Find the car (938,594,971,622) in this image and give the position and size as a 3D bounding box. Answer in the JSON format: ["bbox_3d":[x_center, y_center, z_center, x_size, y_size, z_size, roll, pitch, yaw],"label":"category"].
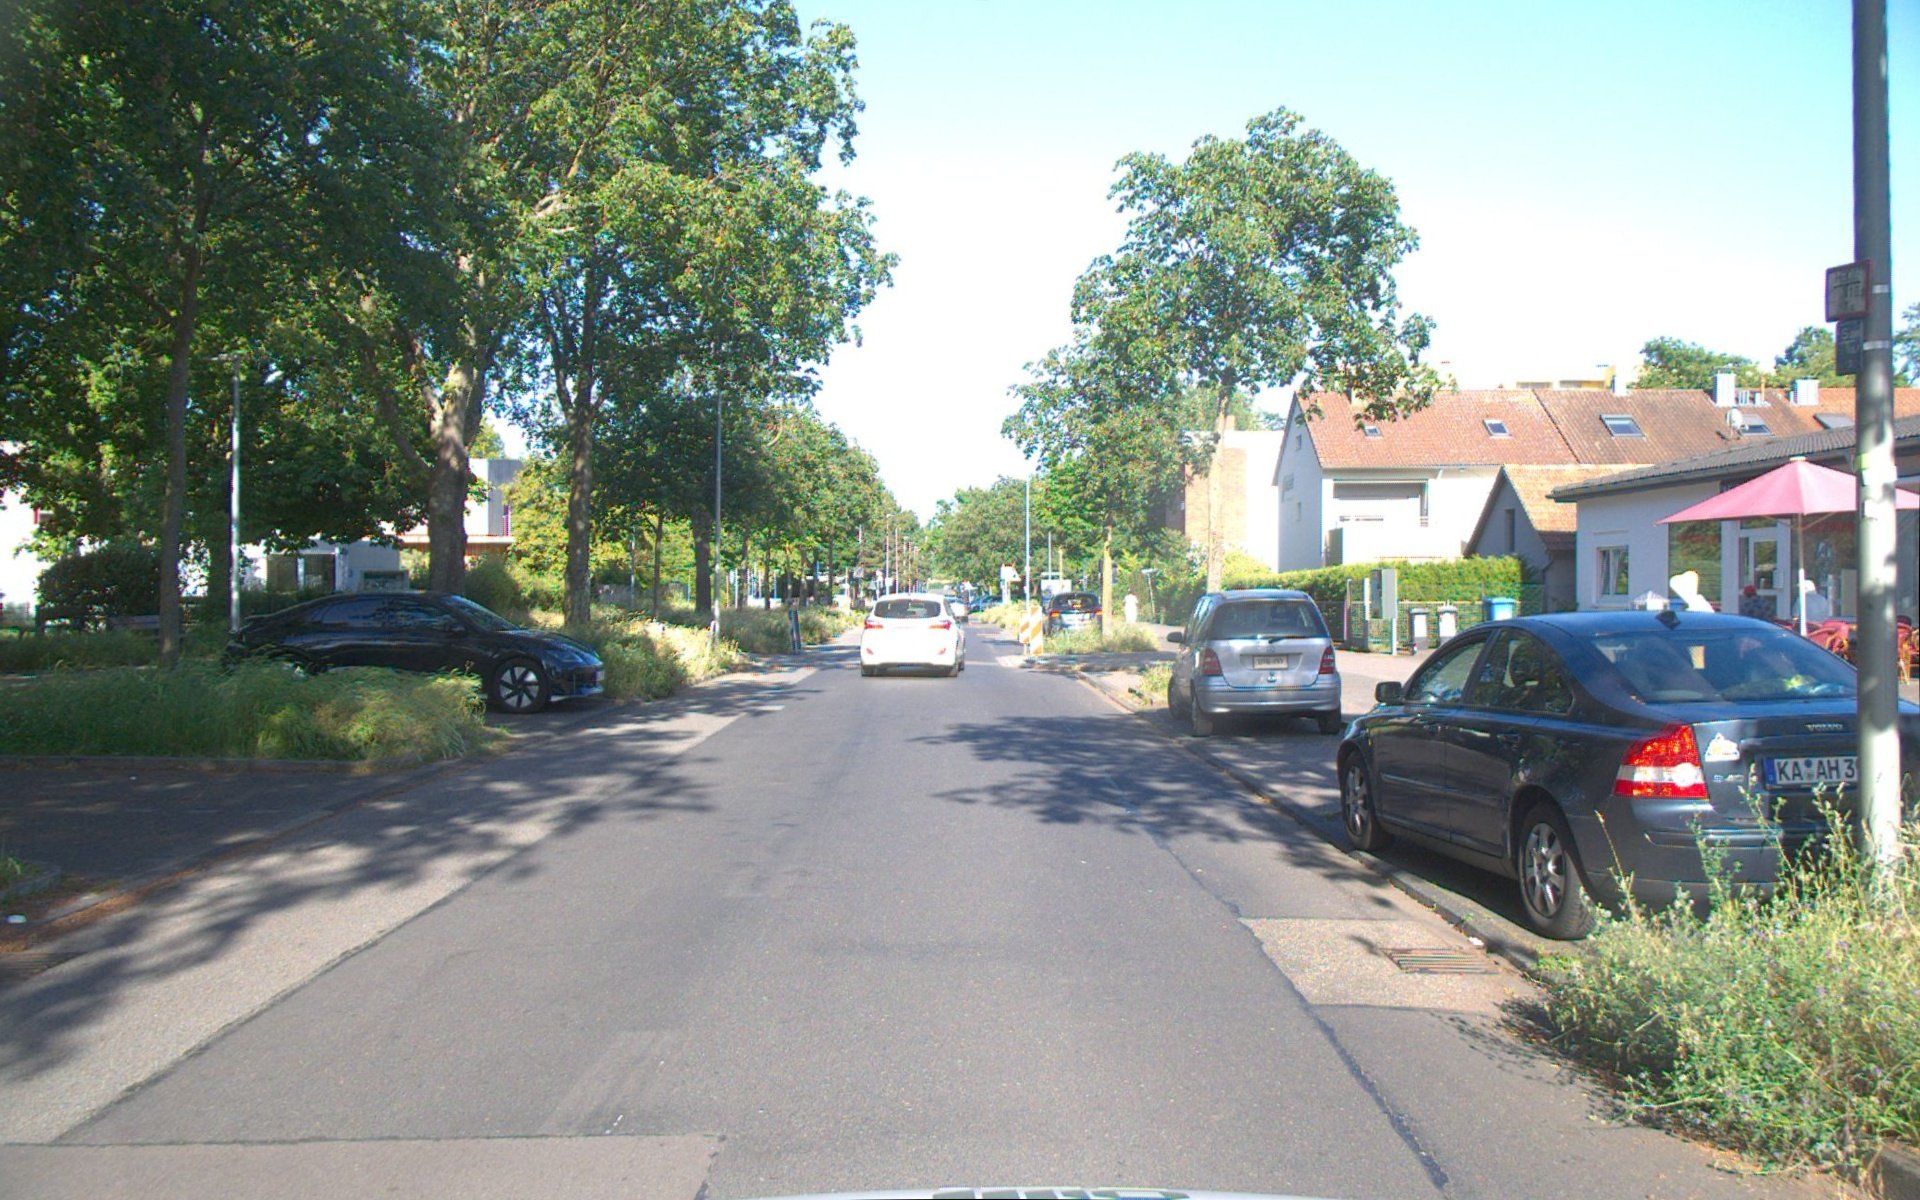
[{"bbox_3d":[-0.339,0.489,101.888,1.953,1.534,3.658,3,0,-1],"label":"car"}]

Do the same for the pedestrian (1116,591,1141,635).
[{"bbox_3d":[7.827,0.604,76.864,1.090,2.049,0.921,0,0,-1],"label":"pedestrian"}]

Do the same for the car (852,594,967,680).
[{"bbox_3d":[-0.877,0.640,31.144,1.952,1.480,4.225,0,0,1],"label":"car"}]

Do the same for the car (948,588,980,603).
[{"bbox_3d":[0.533,-0.552,207.521,3.907,1.780,1.999,0,0,-3],"label":"car"}]

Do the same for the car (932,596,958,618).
[{"bbox_3d":[-1.123,0.500,120.507,1.780,1.534,3.658,3,0,-1],"label":"car"}]

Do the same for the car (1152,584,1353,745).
[{"bbox_3d":[3.399,0.698,19.978,1.577,1.650,4.381,3,0,0],"label":"car"}]

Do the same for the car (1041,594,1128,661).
[{"bbox_3d":[3.471,0.780,46.851,1.954,1.758,3.997,-2,-1,-3],"label":"car"}]

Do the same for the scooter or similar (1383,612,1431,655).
[{"bbox_3d":[9.471,0.701,35.098,0.361,0.873,1.407,0,0,-14],"label":"scooter or similar"}]

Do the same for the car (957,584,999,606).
[{"bbox_3d":[1.682,-0.466,155.236,3.906,2.049,1.999,1,-1,-2],"label":"car"}]

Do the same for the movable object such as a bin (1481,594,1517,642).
[{"bbox_3d":[12.055,0.403,37.001,0.483,1.050,0.747,-3,0,-2],"label":"movable object such as a bin"}]

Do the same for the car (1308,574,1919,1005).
[{"bbox_3d":[3.514,0.772,8.731,1.955,1.650,4.375,3,0,-6],"label":"car"}]

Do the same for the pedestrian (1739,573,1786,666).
[{"bbox_3d":[12.350,0.297,25.467,0.430,1.409,0.639,1,0,5],"label":"pedestrian"}]

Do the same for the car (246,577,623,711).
[{"bbox_3d":[-6.709,0.553,21.477,4.279,1.558,1.807,2,0,-2],"label":"car"}]

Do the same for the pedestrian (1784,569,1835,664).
[{"bbox_3d":[13.098,0.254,25.512,0.649,1.433,0.492,-2,-1,28],"label":"pedestrian"}]

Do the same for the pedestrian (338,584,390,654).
[{"bbox_3d":[-16.319,0.530,45.334,1.205,1.859,1.543,2,-1,-17],"label":"pedestrian"}]

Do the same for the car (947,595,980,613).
[{"bbox_3d":[0.414,0.451,197.237,3.906,2.049,1.999,0,0,-2],"label":"car"}]
